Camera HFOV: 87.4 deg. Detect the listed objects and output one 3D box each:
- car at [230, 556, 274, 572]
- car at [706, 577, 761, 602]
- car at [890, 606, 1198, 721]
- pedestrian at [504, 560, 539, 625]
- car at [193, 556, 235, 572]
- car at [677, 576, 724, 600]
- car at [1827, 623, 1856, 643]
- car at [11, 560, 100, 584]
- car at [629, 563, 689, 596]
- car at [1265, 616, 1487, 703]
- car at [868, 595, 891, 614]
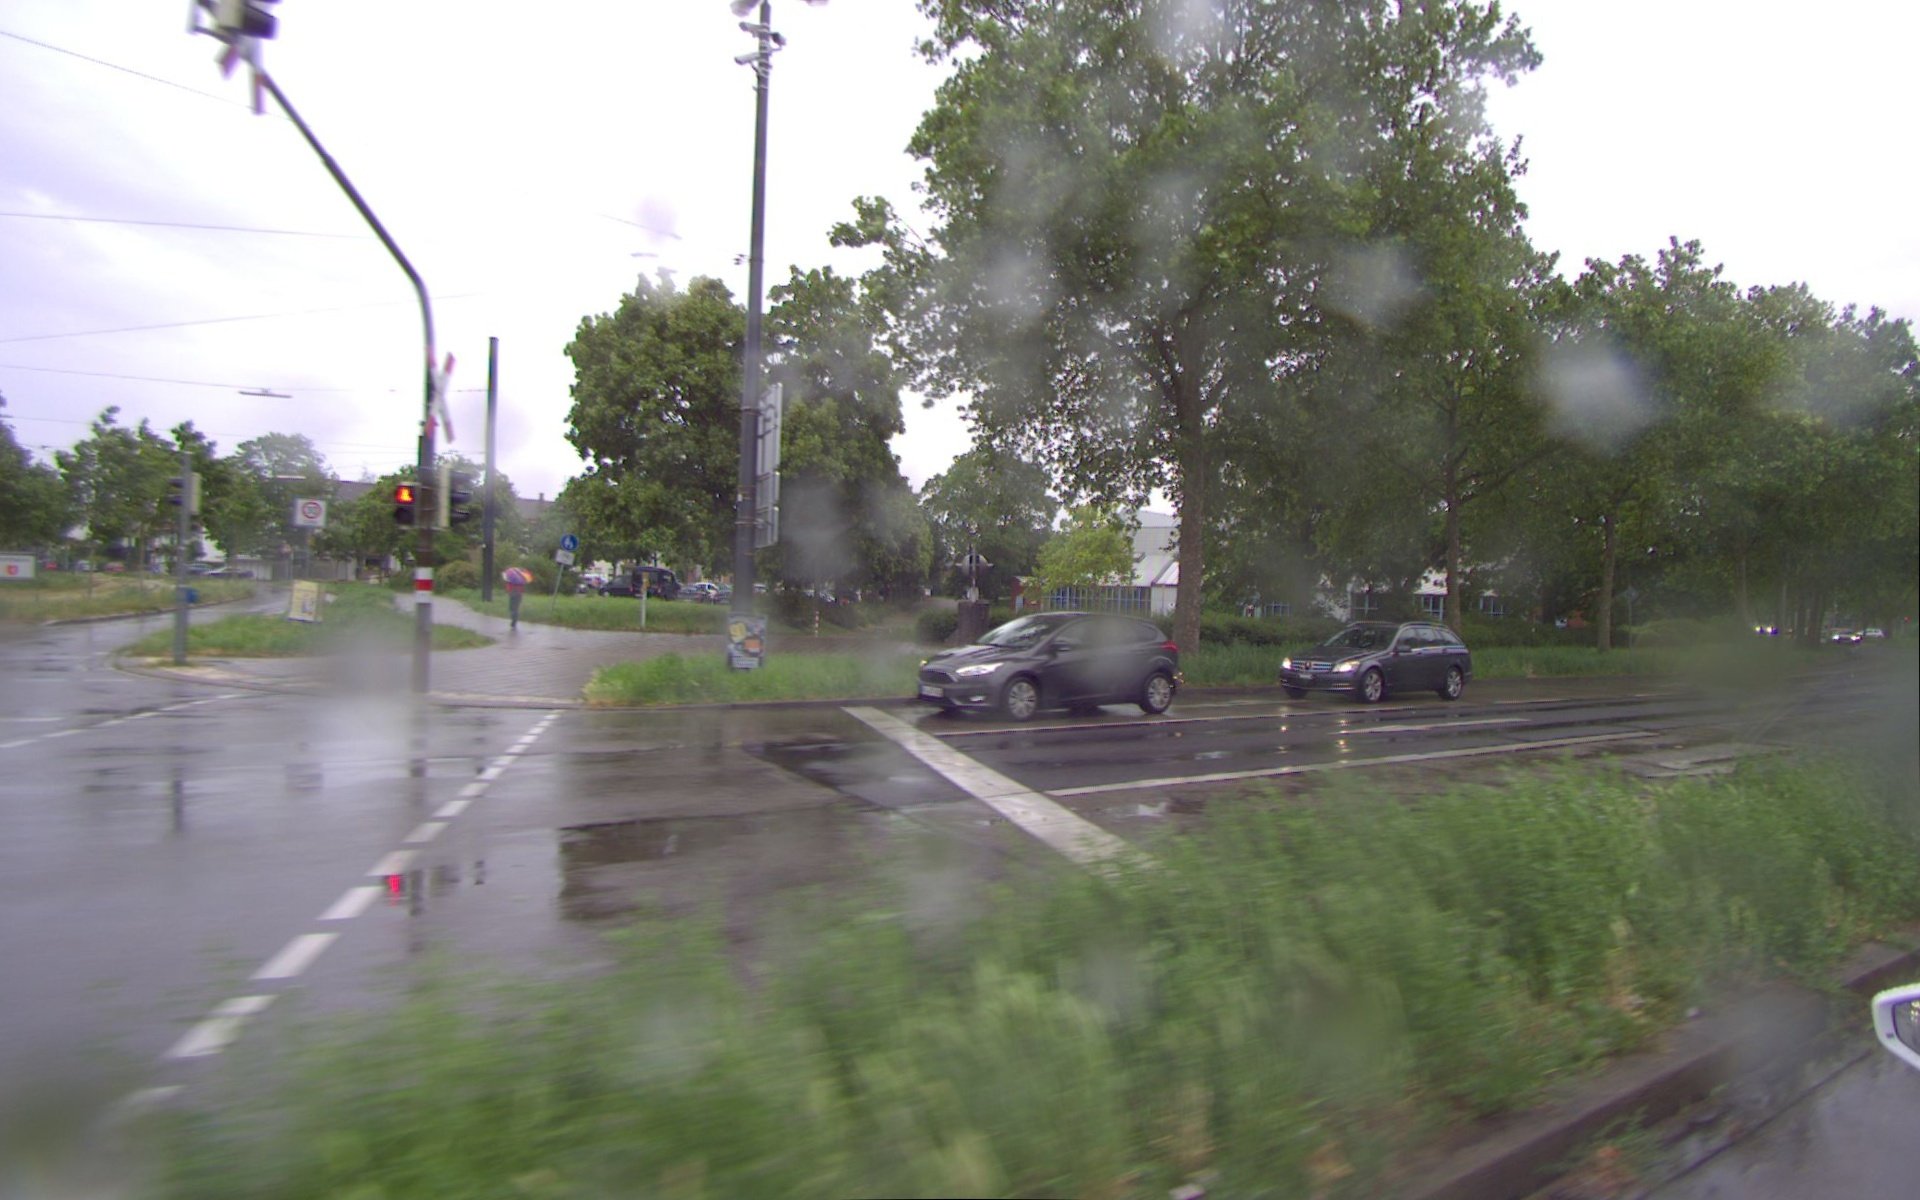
[{"bbox_3d":[-87.569,-4.424,124.247,1.861,1.826,3.989,1,1,33],"label":"car"},{"bbox_3d":[-14.953,-0.719,66.607,2.020,1.594,5.018,1,1,6],"label":"car"},{"bbox_3d":[1.287,0.876,14.477,4.271,1.420,1.787,3,-2,-35],"label":"car"},{"bbox_3d":[-13.736,-0.238,31.454,0.941,2.017,1.001,0,1,-26],"label":"pedestrian"},{"bbox_3d":[-92.987,-4.452,125.198,1.788,1.826,3.871,1,1,34],"label":"car"},{"bbox_3d":[-17.254,-0.811,66.919,1.721,1.551,4.849,1,1,2],"label":"car"},{"bbox_3d":[95.548,3.544,108.939,1.955,2.041,3.985,2,1,36],"label":"car"},{"bbox_3d":[-57.940,-1.814,64.411,4.002,1.439,1.660,0,1,-33],"label":"car"},{"bbox_3d":[-19.753,-1.321,66.201,2.267,2.041,5.118,1,1,2],"label":"car"},{"bbox_3d":[8.023,1.157,19.242,4.415,1.425,1.787,4,-1,-35],"label":"car"},{"bbox_3d":[-7.688,0.422,96.192,2.144,1.721,4.085,1,1,-3],"label":"car"}]
